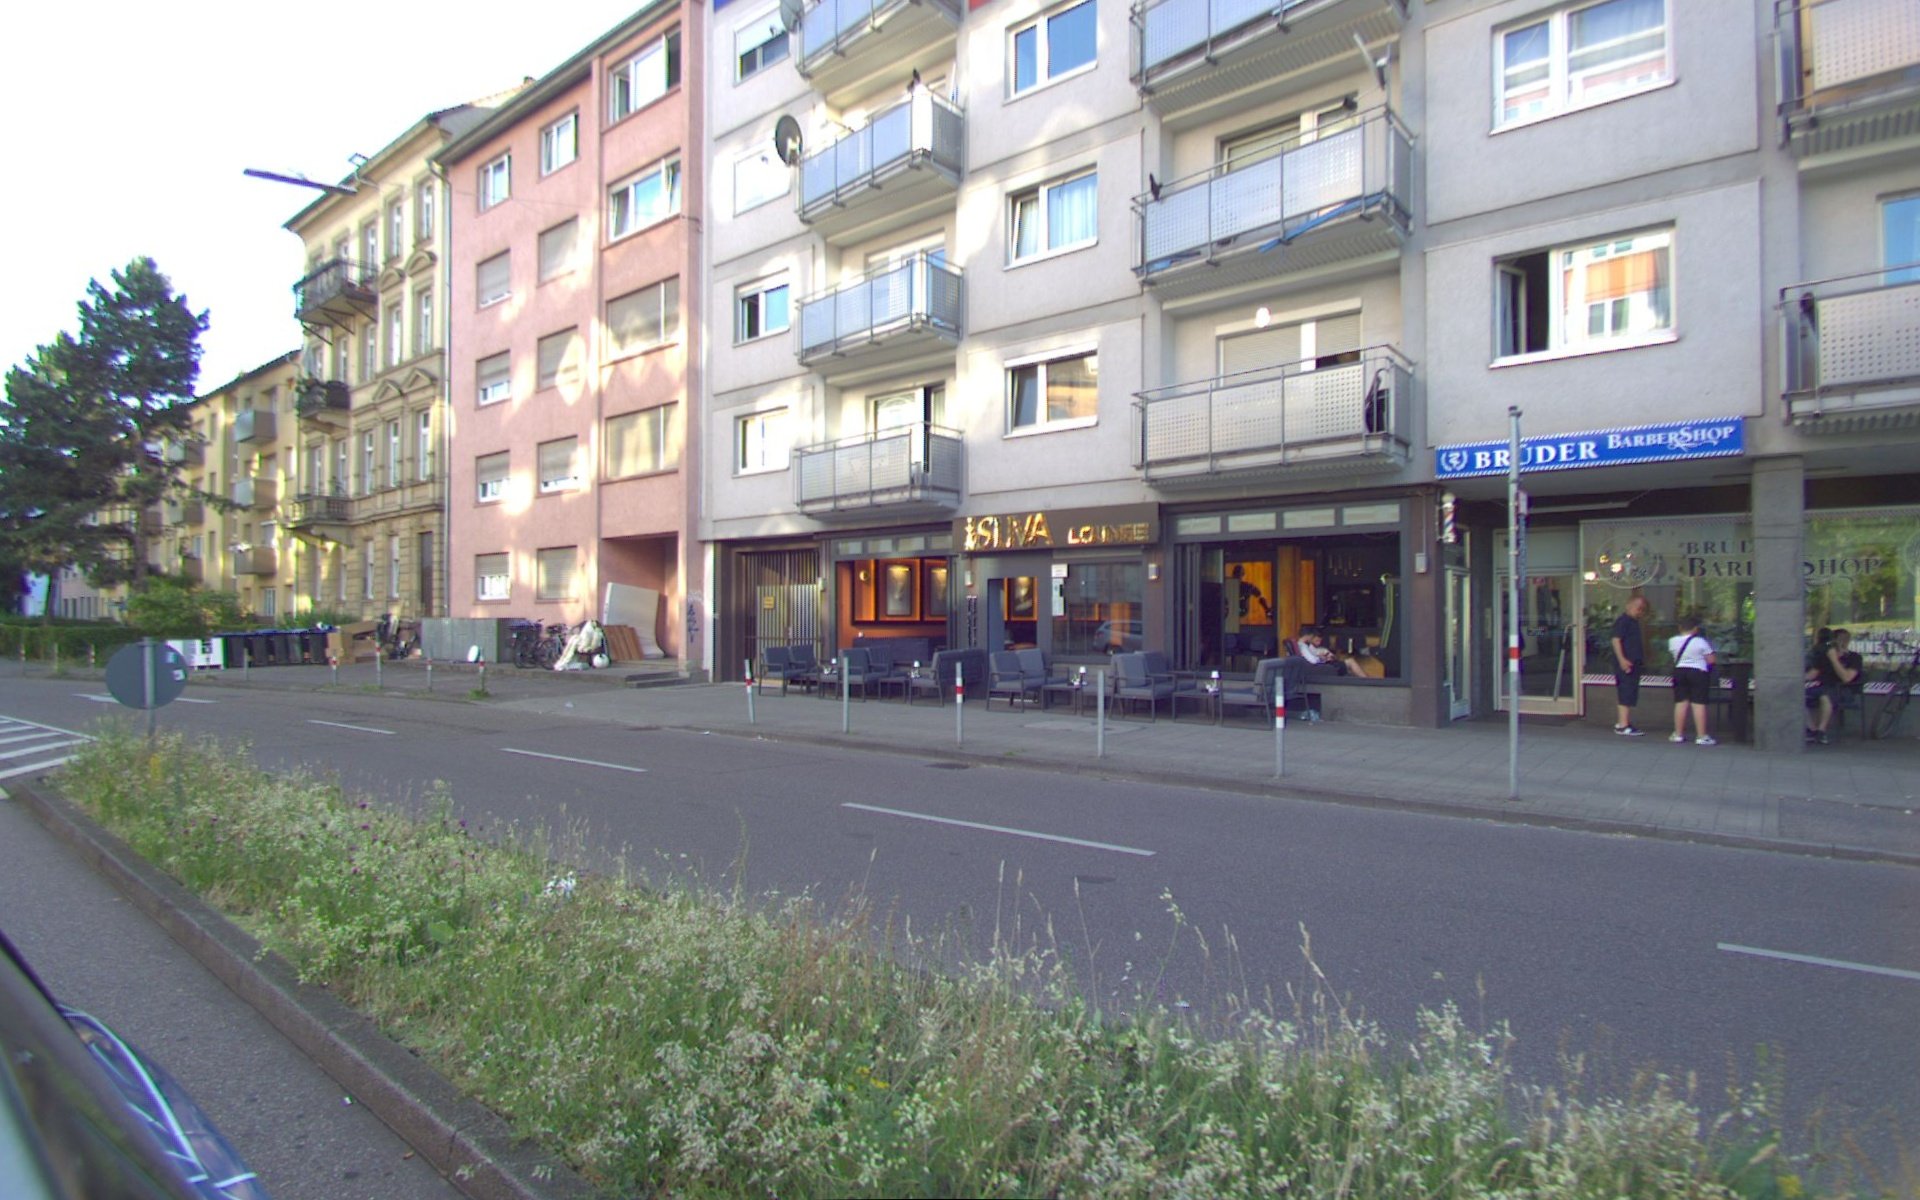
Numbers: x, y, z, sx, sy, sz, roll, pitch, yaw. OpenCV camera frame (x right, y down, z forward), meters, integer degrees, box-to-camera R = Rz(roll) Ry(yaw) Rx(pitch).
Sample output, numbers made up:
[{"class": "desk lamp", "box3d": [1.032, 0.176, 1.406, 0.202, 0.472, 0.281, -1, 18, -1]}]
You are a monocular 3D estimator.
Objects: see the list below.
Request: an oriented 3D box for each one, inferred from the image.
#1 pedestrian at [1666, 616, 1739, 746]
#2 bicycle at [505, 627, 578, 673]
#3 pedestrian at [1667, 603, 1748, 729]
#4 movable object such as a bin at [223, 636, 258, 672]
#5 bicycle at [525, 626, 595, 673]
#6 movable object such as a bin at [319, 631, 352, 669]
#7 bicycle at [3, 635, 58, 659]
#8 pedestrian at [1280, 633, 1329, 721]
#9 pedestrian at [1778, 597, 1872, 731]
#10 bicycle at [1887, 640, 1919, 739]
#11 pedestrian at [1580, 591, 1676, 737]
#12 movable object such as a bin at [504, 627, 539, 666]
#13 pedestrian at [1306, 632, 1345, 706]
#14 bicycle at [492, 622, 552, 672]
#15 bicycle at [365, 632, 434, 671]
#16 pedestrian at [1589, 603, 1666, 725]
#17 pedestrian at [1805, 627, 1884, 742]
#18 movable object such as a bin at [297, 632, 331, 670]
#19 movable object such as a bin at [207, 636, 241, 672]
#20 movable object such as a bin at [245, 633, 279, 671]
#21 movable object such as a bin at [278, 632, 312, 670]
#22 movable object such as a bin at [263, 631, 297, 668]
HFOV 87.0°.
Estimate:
[{"class": "pedestrian", "box3d": [8.263, 0.882, 11.267, 0.476, 1.394, 0.483, 1, -2, -30]}, {"class": "bicycle", "box3d": [-10.347, 1.218, 25.084, 0.548, 1.048, 1.656, -1, 0, 33]}, {"class": "pedestrian", "box3d": [9.747, 0.840, 13.195, 0.787, 1.590, 0.555, -2, -2, 41]}, {"class": "movable object such as a bin", "box3d": [-22.366, 1.660, 31.460, 0.620, 1.076, 0.640, -1, 1, 10]}, {"class": "bicycle", "box3d": [-9.691, 1.175, 24.579, 0.546, 1.048, 1.661, -1, 0, 25]}, {"class": "movable object such as a bin", "box3d": [-19.140, 1.539, 31.016, 0.577, 1.119, 0.640, -1, 1, 9]}, {"class": "bicycle", "box3d": [-41.220, 2.083, 44.875, 0.589, 0.989, 1.740, -2, -1, 40]}, {"class": "pedestrian", "box3d": [4.863, 1.076, 14.322, 0.546, 1.212, 0.521, -1, -2, 8]}, {"class": "pedestrian", "box3d": [10.684, 0.774, 12.526, 0.786, 1.590, 0.556, -1, -2, 35]}, {"class": "bicycle", "box3d": [11.278, 1.010, 11.191, 1.454, 1.089, 0.582, 0, -1, 38]}, {"class": "pedestrian", "box3d": [8.075, 0.756, 12.259, 0.552, 1.714, 0.781, 0, -2, -6]}, {"class": "movable object such as a bin", "box3d": [-11.783, 1.242, 27.194, 0.588, 1.039, 0.668, -1, -2, 40]}, {"class": "pedestrian", "box3d": [5.576, 1.040, 15.460, 0.518, 1.088, 0.549, -1, -2, 17]}, {"class": "bicycle", "box3d": [-11.024, 1.165, 25.530, 0.491, 1.169, 1.668, -1, 0, 14]}, {"class": "bicycle", "box3d": [-16.830, 1.524, 30.435, 0.661, 0.974, 1.633, -1, 4, 38]}, {"class": "pedestrian", "box3d": [9.059, 0.849, 13.736, 0.787, 1.590, 0.555, -2, -2, 41]}, {"class": "pedestrian", "box3d": [9.991, 0.936, 11.437, 0.549, 1.249, 0.532, 1, -2, -36]}, {"class": "movable object such as a bin", "box3d": [-19.798, 1.560, 31.025, 0.577, 1.119, 0.640, -1, 1, 9]}, {"class": "movable object such as a bin", "box3d": [-23.006, 1.691, 31.630, 0.577, 1.091, 0.640, -1, 1, 9]}, {"class": "movable object such as a bin", "box3d": [-21.647, 1.608, 31.410, 0.577, 1.119, 0.640, -1, 1, 9]}, {"class": "movable object such as a bin", "box3d": [-20.399, 1.547, 31.044, 0.577, 1.119, 0.640, -1, 1, 9]}, {"class": "movable object such as a bin", "box3d": [-21.015, 1.523, 31.293, 0.577, 1.119, 0.640, -1, 1, 9]}]
